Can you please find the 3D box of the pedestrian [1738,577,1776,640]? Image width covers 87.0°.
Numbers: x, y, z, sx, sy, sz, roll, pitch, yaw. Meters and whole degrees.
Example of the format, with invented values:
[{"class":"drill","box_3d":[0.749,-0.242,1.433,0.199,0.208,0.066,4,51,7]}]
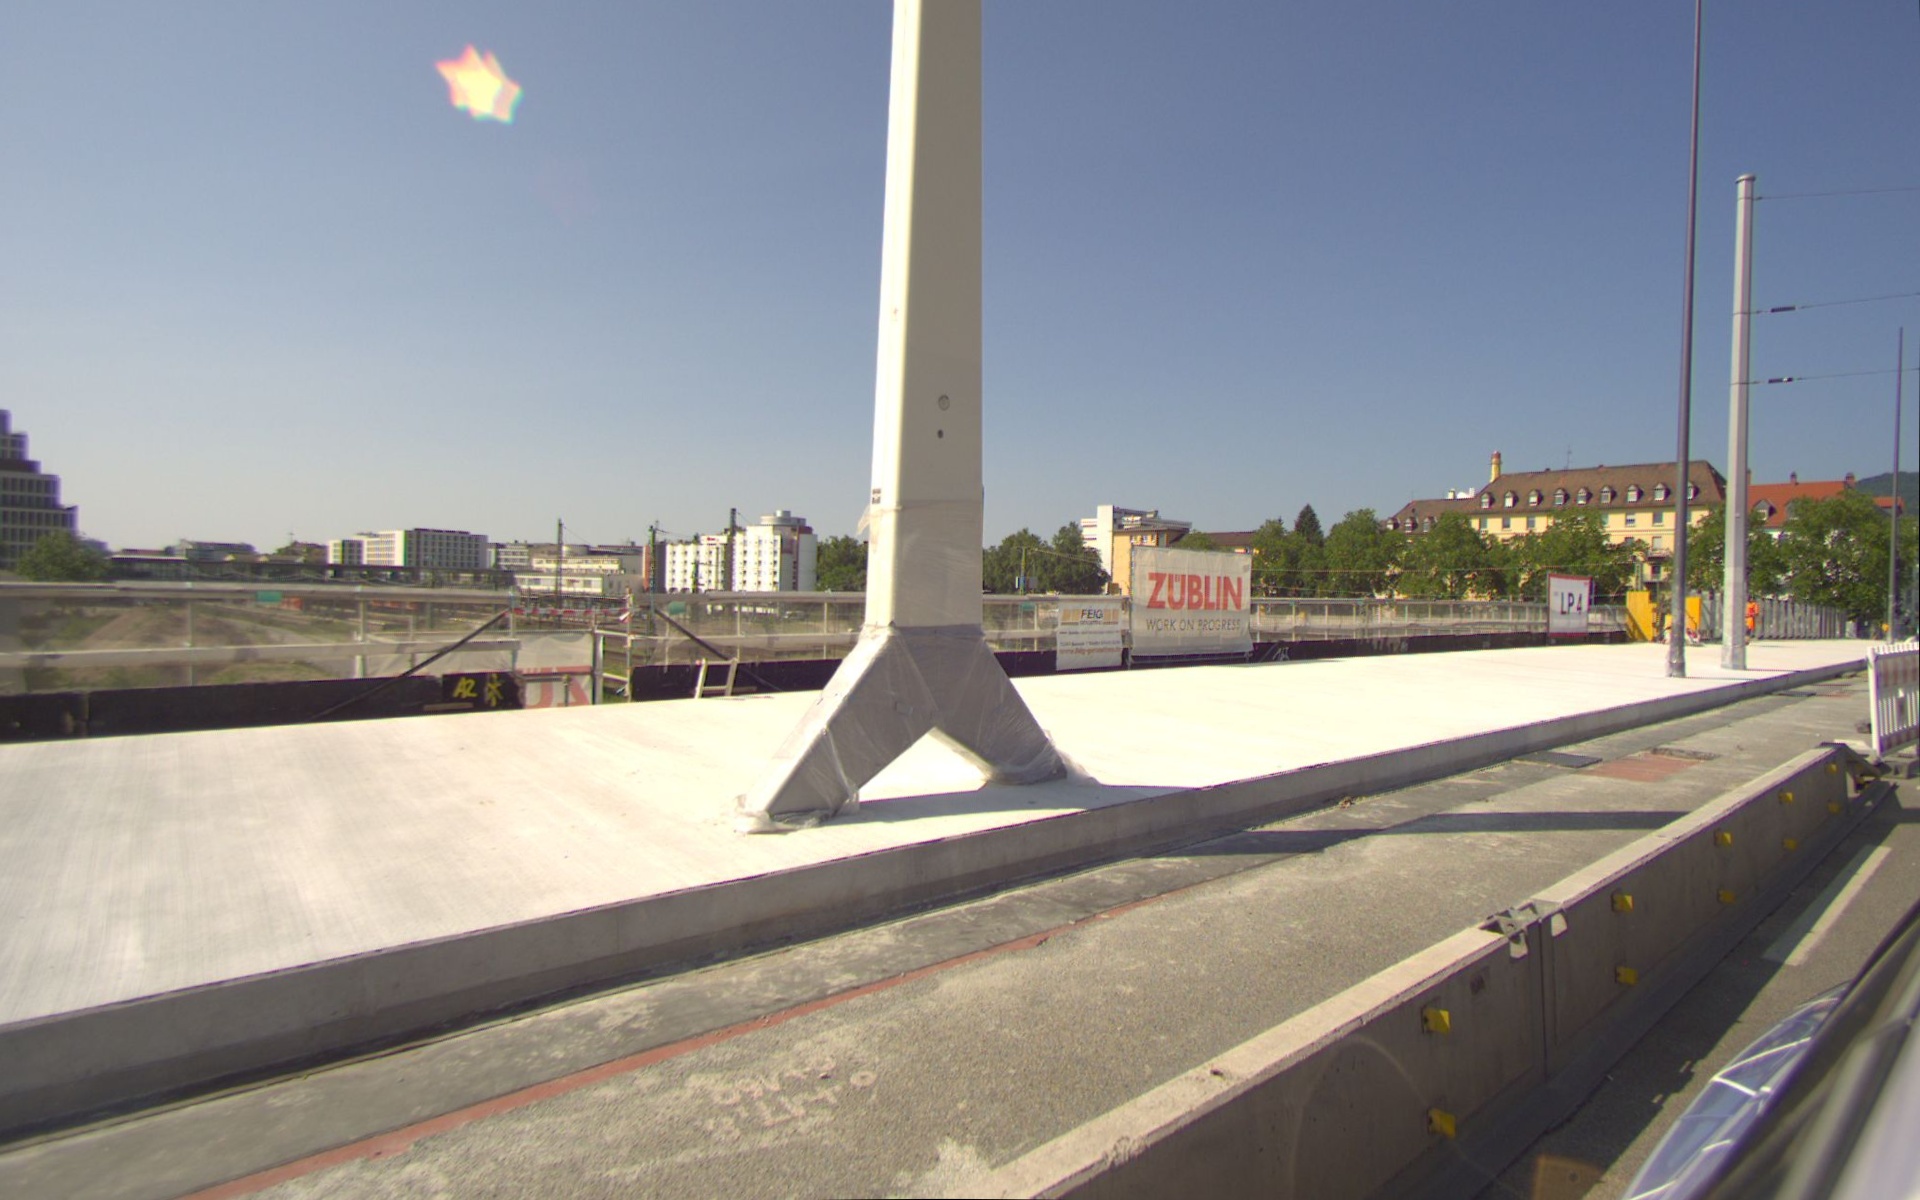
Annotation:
[{"class":"pedestrian","box_3d":[25.913,0.283,32.903,0.999,1.989,0.732,1,1,-42]}]
